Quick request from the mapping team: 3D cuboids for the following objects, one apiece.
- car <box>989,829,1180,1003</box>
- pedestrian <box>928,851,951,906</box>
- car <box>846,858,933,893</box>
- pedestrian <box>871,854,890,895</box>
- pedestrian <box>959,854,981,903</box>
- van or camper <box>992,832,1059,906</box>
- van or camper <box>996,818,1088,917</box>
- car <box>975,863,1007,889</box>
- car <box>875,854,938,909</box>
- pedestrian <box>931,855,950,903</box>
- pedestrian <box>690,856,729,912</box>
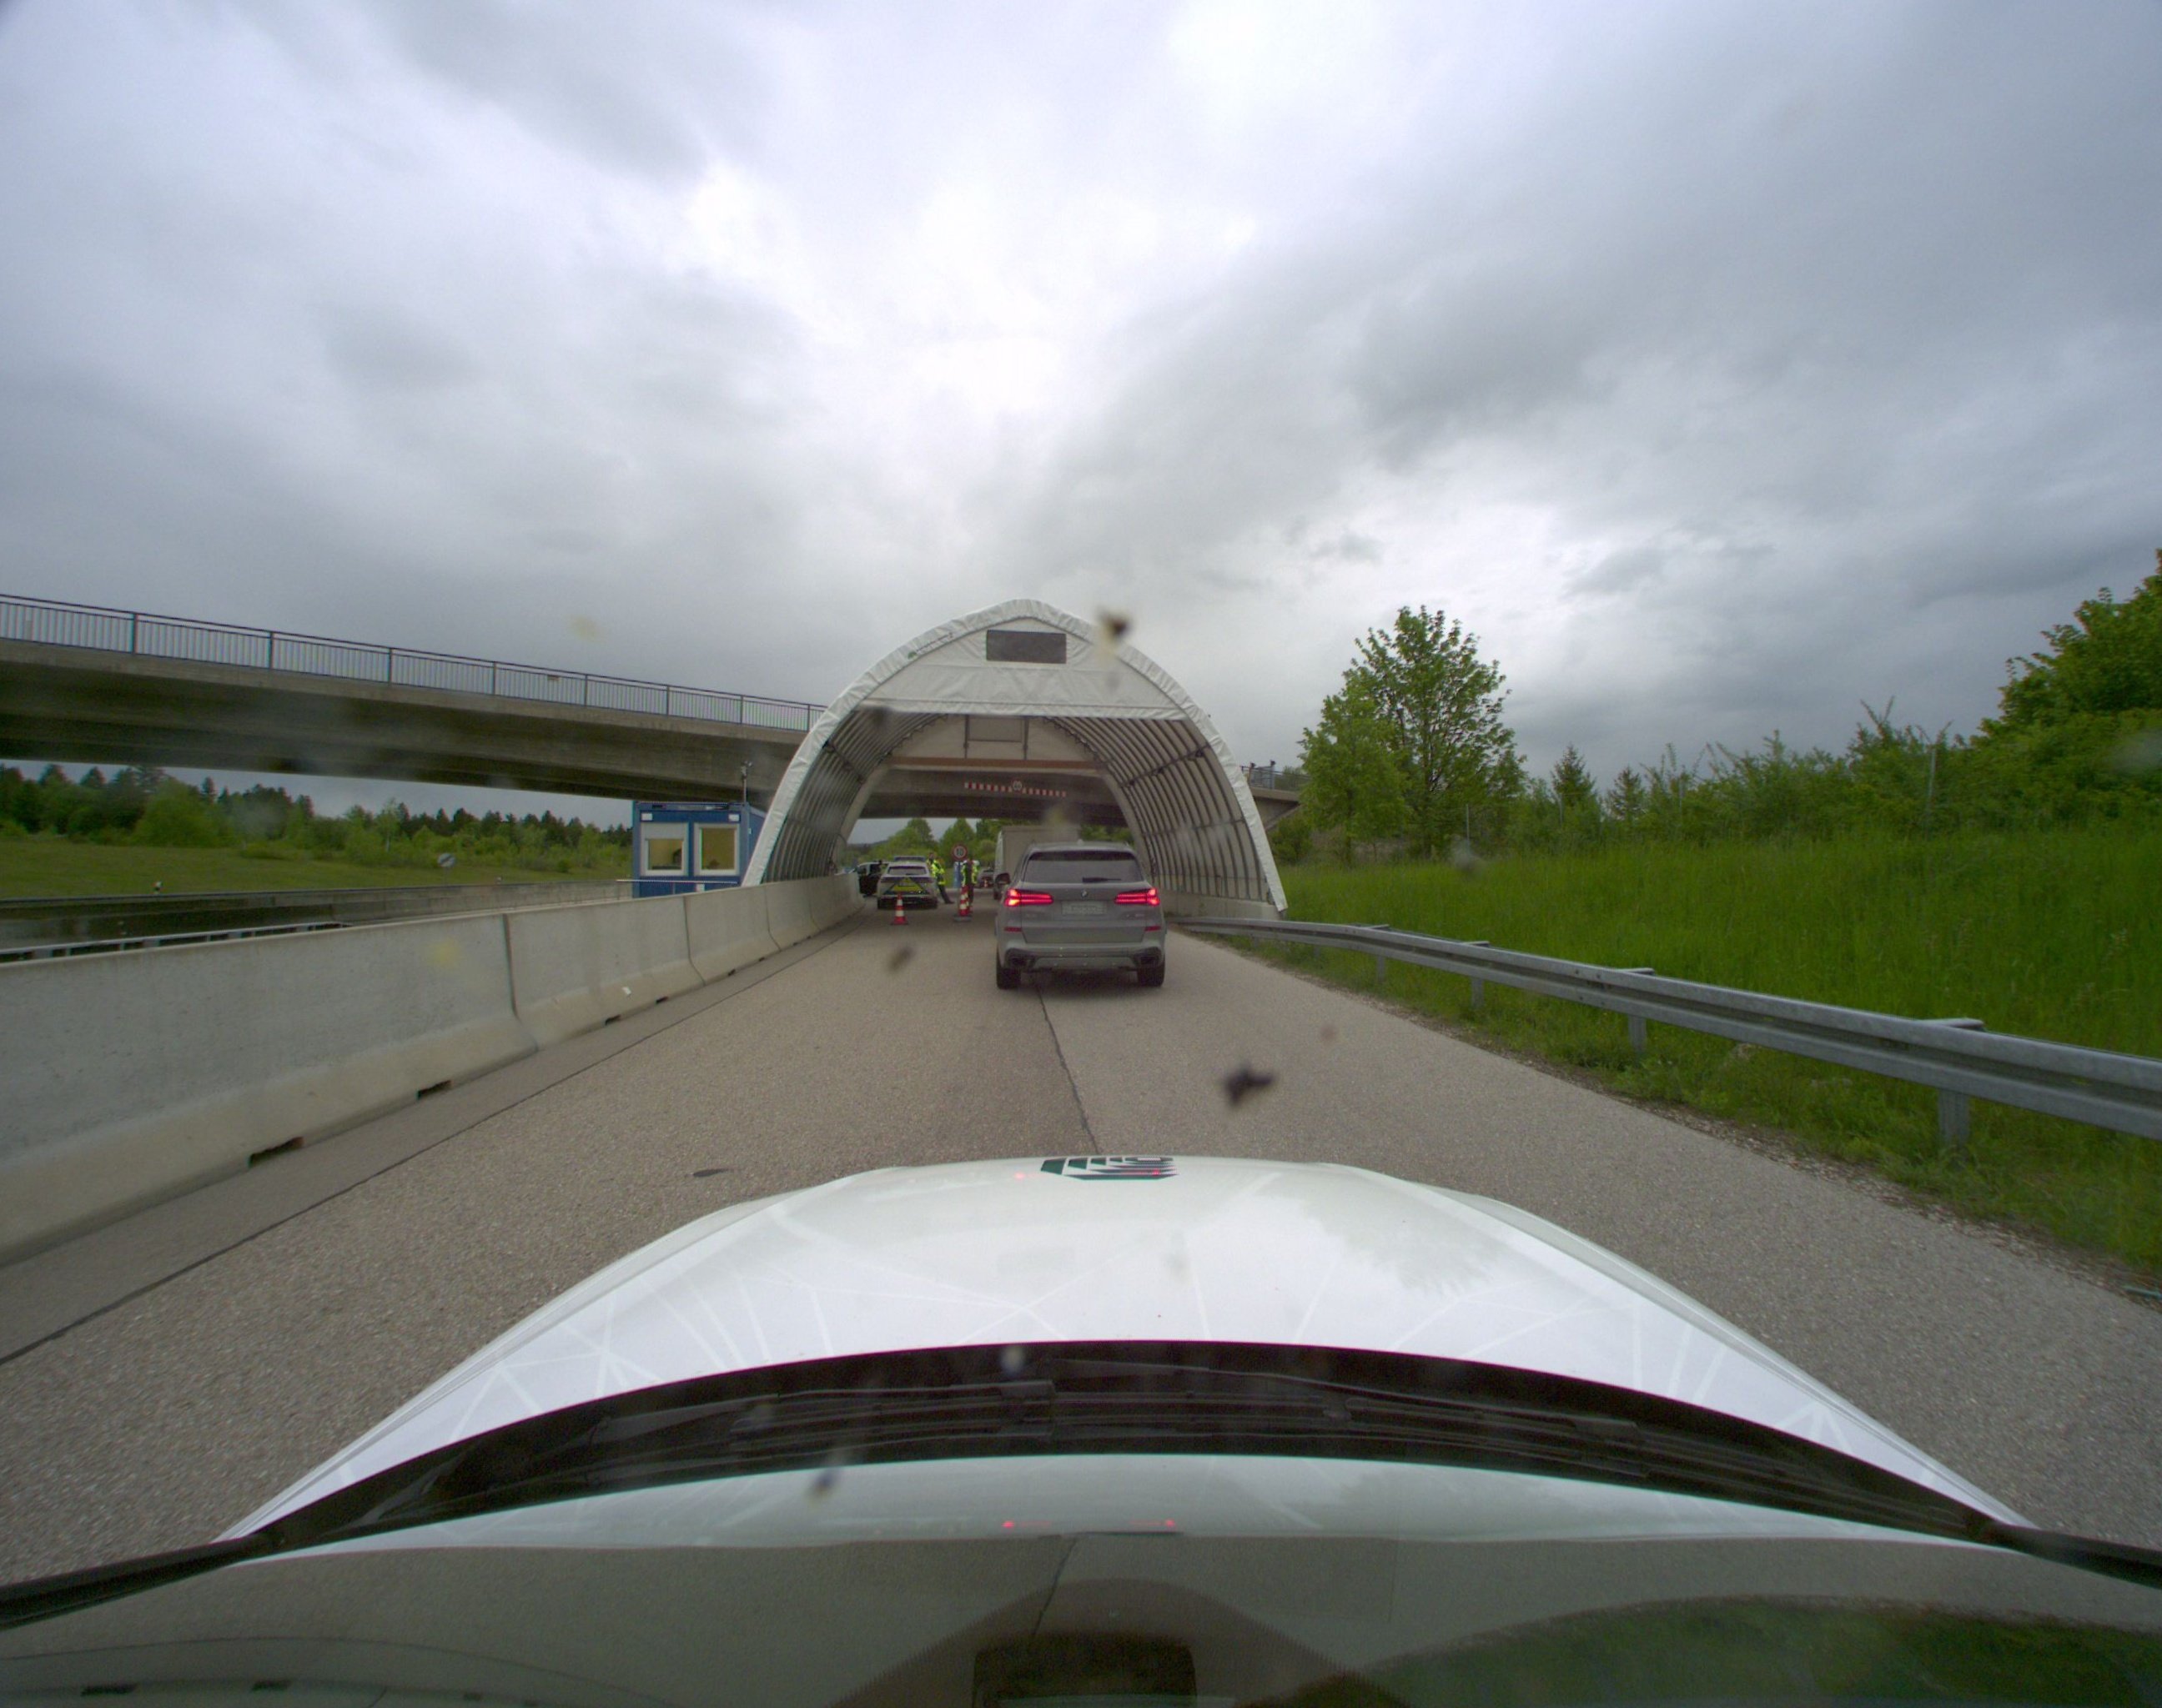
[{"bbox_3d":[-0.175,0.669,10.598,1.992,1.765,3.990,-1,-1,-7],"label":"car"},{"bbox_3d":[-5.089,0.873,29.198,0.750,1.919,0.759,-1,-1,-13],"label":"pedestrian"},{"bbox_3d":[-11.583,1.300,49.395,4.777,2.014,1.845,-1,-1,9],"label":"car"},{"bbox_3d":[-9.911,1.004,40.229,0.698,2.014,0.692,-1,-1,1],"label":"pedestrian"},{"bbox_3d":[-4.079,0.893,29.918,0.779,1.722,0.754,-1,-1,-9],"label":"pedestrian"},{"bbox_3d":[-2.205,0.534,30.787,2.103,2.519,5.535,-1,-1,-8],"label":"van or camper"},{"bbox_3d":[-1.357,0.401,24.691,2.228,2.552,6.593,-1,-1,-7],"label":"van or camper"},{"bbox_3d":[-6.507,1.561,58.797,1.994,1.722,3.882,-1,-1,-11],"label":"car"},{"bbox_3d":[-5.786,0.877,27.028,1.879,1.647,3.983,-1,-1,-12],"label":"car"},{"bbox_3d":[-5.208,0.925,30.212,0.607,1.754,0.665,-1,-1,-4],"label":"pedestrian"},{"bbox_3d":[-9.255,0.735,20.304,0.606,1.373,0.629,-2,-1,10],"label":"pedestrian"}]
